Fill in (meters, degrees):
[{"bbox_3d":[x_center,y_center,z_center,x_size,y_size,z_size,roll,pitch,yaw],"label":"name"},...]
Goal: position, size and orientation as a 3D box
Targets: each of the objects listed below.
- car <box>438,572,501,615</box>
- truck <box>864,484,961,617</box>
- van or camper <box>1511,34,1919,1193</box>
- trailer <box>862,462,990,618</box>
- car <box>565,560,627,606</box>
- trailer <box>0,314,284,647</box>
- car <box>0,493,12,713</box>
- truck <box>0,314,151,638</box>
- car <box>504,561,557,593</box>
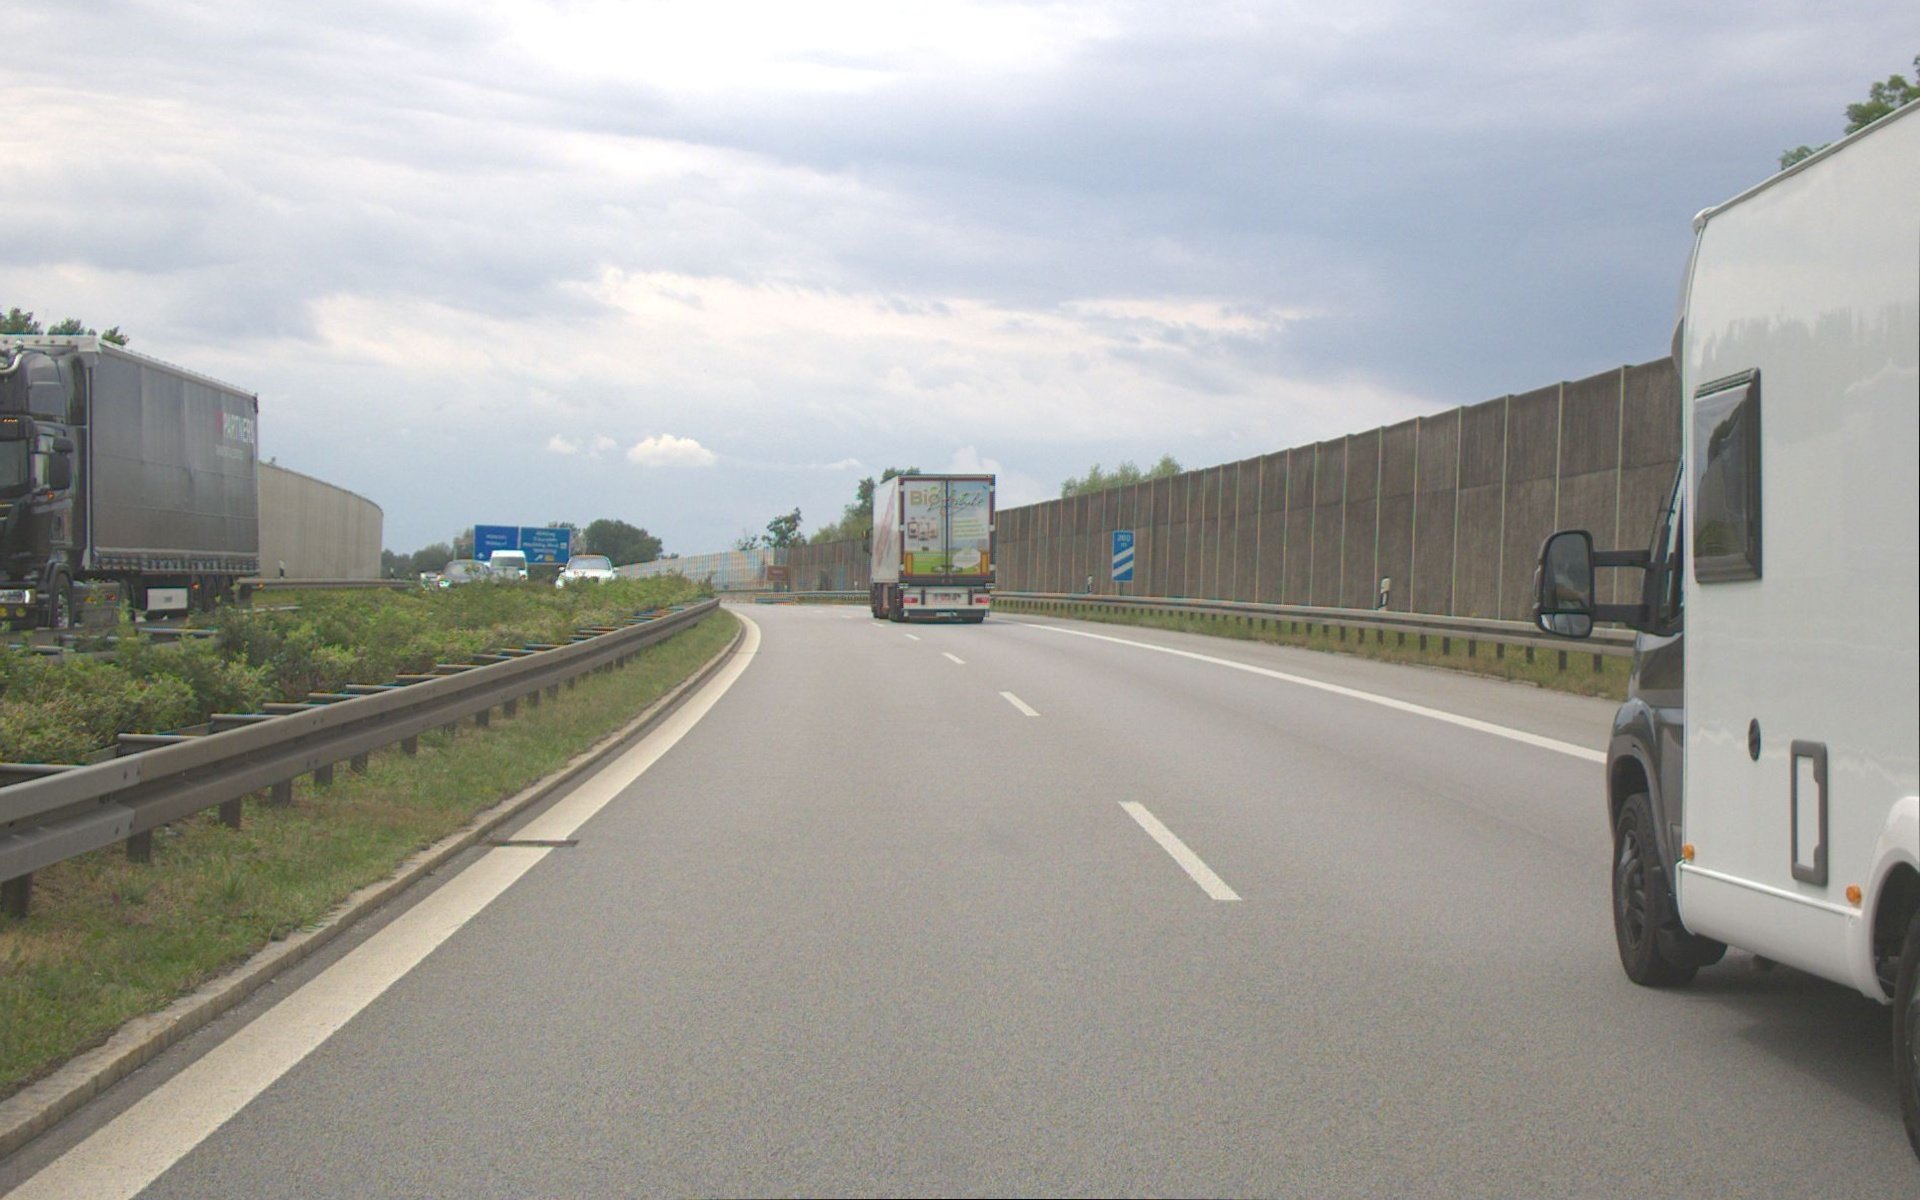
[{"bbox_3d":[-16.657,-0.235,116.844,1.722,1.412,4.555,0,0,-3],"label":"car"},{"bbox_3d":[-1.506,-1.460,105.219,2.755,3.946,5.677,0,0,-3],"label":"truck"},{"bbox_3d":[3.417,0.020,9.634,2.429,2.687,7.226,1,1,-1],"label":"van or camper"},{"bbox_3d":[-1.108,-1.588,98.903,2.792,4.160,14.105,0,0,-4],"label":"trailer"},{"bbox_3d":[-13.534,-0.639,127.968,1.964,1.664,4.925,1,0,-3],"label":"car"},{"bbox_3d":[-12.643,-1.592,50.636,2.981,4.225,14.180,0,1,-2],"label":"trailer"},{"bbox_3d":[-7.700,0.032,22.148,1.931,1.543,4.567,1,1,0],"label":"car"},{"bbox_3d":[-12.398,-1.512,43.865,2.873,3.845,6.075,0,1,-2],"label":"truck"},{"bbox_3d":[-19.045,-1.021,152.639,1.993,1.360,4.968,1,0,-4],"label":"car"}]
